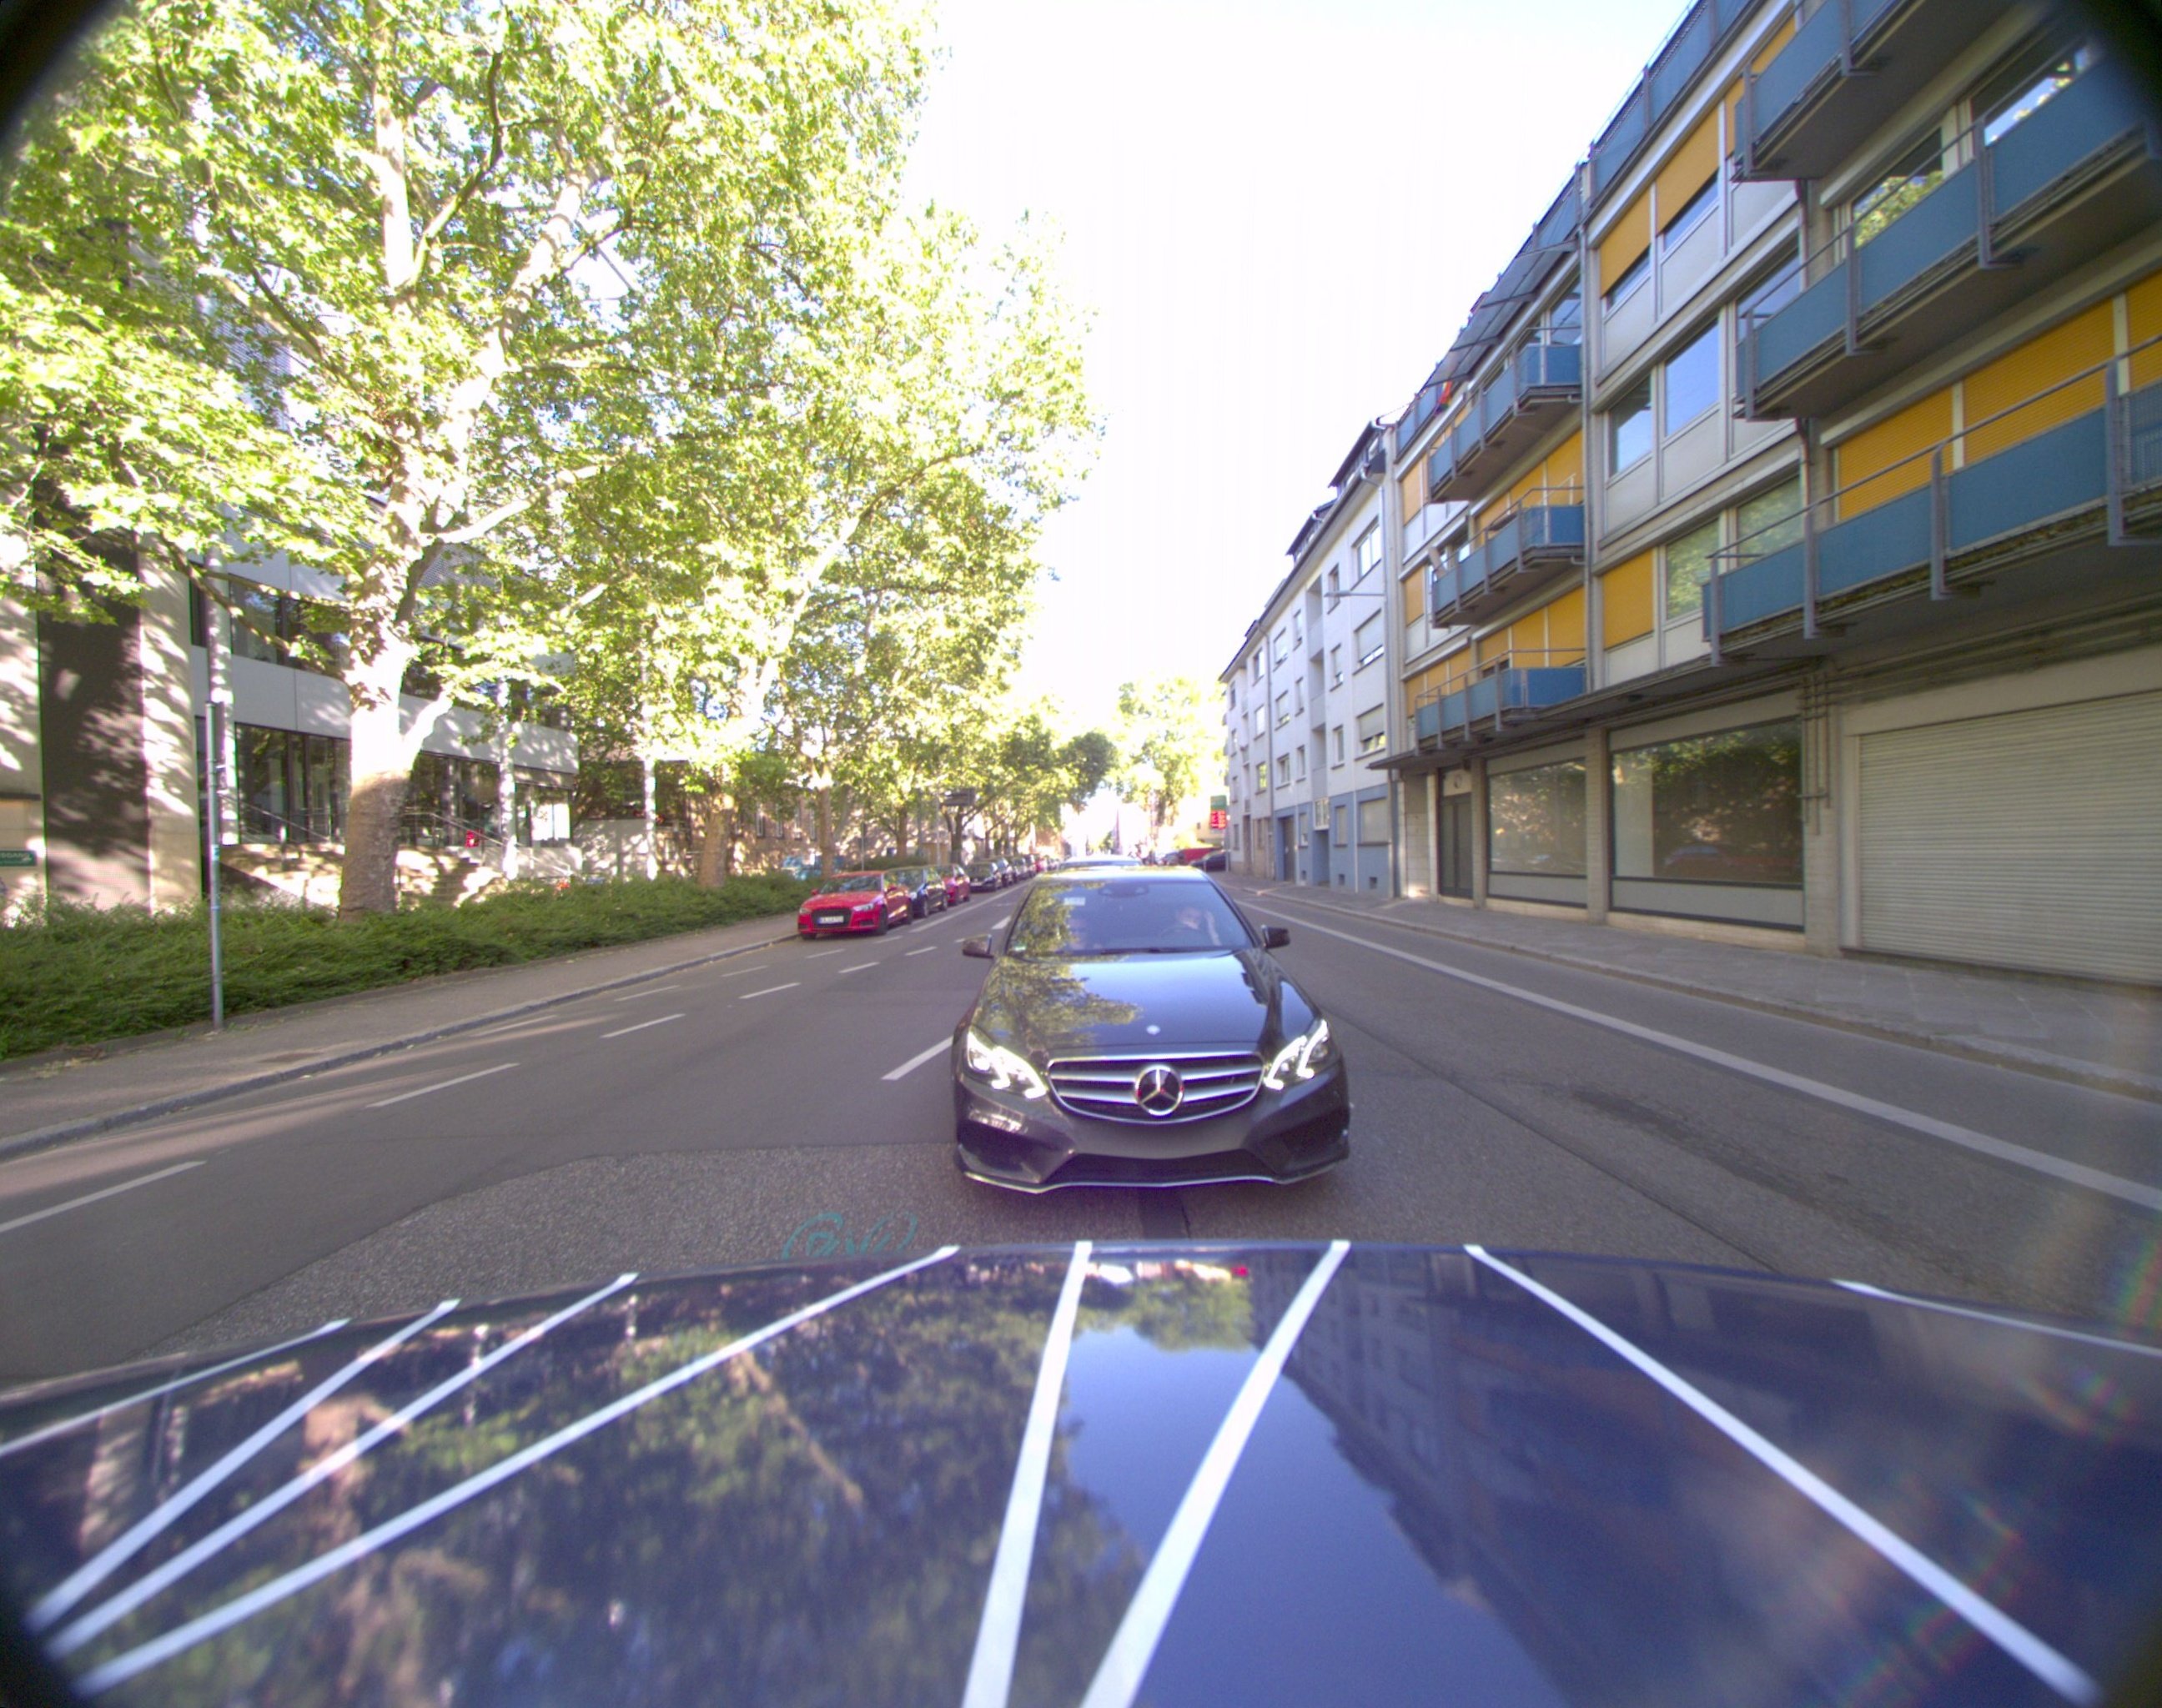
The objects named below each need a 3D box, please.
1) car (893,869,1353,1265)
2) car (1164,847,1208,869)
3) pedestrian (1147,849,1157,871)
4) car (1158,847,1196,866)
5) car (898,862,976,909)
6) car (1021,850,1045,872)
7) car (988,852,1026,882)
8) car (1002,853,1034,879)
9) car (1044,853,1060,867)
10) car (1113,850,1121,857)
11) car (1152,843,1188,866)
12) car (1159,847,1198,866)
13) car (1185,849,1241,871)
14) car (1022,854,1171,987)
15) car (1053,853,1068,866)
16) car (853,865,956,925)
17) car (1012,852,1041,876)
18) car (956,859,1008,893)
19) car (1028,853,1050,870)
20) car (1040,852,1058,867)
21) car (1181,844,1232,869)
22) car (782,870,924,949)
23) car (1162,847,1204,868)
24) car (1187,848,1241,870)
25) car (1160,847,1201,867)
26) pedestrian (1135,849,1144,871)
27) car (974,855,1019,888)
[{"bbox_3d":[0.204,0.933,5.404,1.866,1.492,4.481,-2,0,1],"label":"car"},{"bbox_3d":[10.246,0.385,74.502,3.996,1.936,2.000,-2,1,2],"label":"car"},{"bbox_3d":[6.613,0.584,70.795,0.735,2.002,1.046,-2,1,1],"label":"pedestrian"},{"bbox_3d":[10.733,0.251,84.976,3.996,1.936,2.000,-2,1,2],"label":"car"},{"bbox_3d":[-5.089,1.066,27.421,1.866,1.442,4.481,-2,0,1],"label":"car"},{"bbox_3d":[-4.409,0.621,70.350,1.866,1.945,4.481,-2,0,1],"label":"car"},{"bbox_3d":[-4.634,0.786,48.130,1.866,1.749,4.481,-2,0,1],"label":"car"},{"bbox_3d":[-4.504,0.821,54.796,1.866,1.749,4.481,-2,0,1],"label":"car"},{"bbox_3d":[-3.675,0.726,96.772,1.866,1.632,4.481,-2,0,1],"label":"car"},{"bbox_3d":[8.796,-0.129,185.428,1.866,1.632,4.481,-2,0,1],"label":"car"},{"bbox_3d":[10.487,0.013,89.504,3.996,2.505,2.000,-2,1,2],"label":"car"},{"bbox_3d":[10.588,0.284,82.482,3.996,1.936,2.000,-2,1,2],"label":"car"},{"bbox_3d":[10.173,0.430,58.867,3.996,1.543,2.000,-2,1,2],"label":"car"},{"bbox_3d":[0.224,0.859,11.927,1.866,1.630,4.303,-2,0,1],"label":"car"},{"bbox_3d":[-2.838,0.750,105.181,1.866,1.632,4.481,-2,0,1],"label":"car"},{"bbox_3d":[-5.044,1.124,22.378,1.866,1.442,4.481,-2,0,1],"label":"car"},{"bbox_3d":[-4.247,0.759,59.752,1.866,1.749,4.481,-2,0,1],"label":"car"},{"bbox_3d":[-4.757,1.026,37.168,1.866,1.442,4.481,-2,0,1],"label":"car"},{"bbox_3d":[-4.201,0.709,76.275,1.866,1.632,4.481,-2,0,1],"label":"car"},{"bbox_3d":[-3.792,0.590,89.970,1.866,1.632,4.481,-2,0,1],"label":"car"},{"bbox_3d":[10.546,0.162,64.021,3.996,1.936,2.000,-2,1,2],"label":"car"},{"bbox_3d":[-5.105,1.178,17.727,1.866,1.442,4.481,-2,0,1],"label":"car"},{"bbox_3d":[10.330,0.353,77.143,3.996,1.936,2.000,-2,1,2],"label":"car"},{"bbox_3d":[10.714,0.384,61.190,3.996,1.543,2.000,-2,1,2],"label":"car"},{"bbox_3d":[10.458,0.316,79.994,3.996,1.936,2.000,-2,1,2],"label":"car"},{"bbox_3d":[5.458,0.560,71.210,0.735,2.002,0.797,-2,1,1],"label":"pedestrian"},{"bbox_3d":[-4.622,0.909,42.203,1.866,1.658,4.481,-2,0,1],"label":"car"}]
